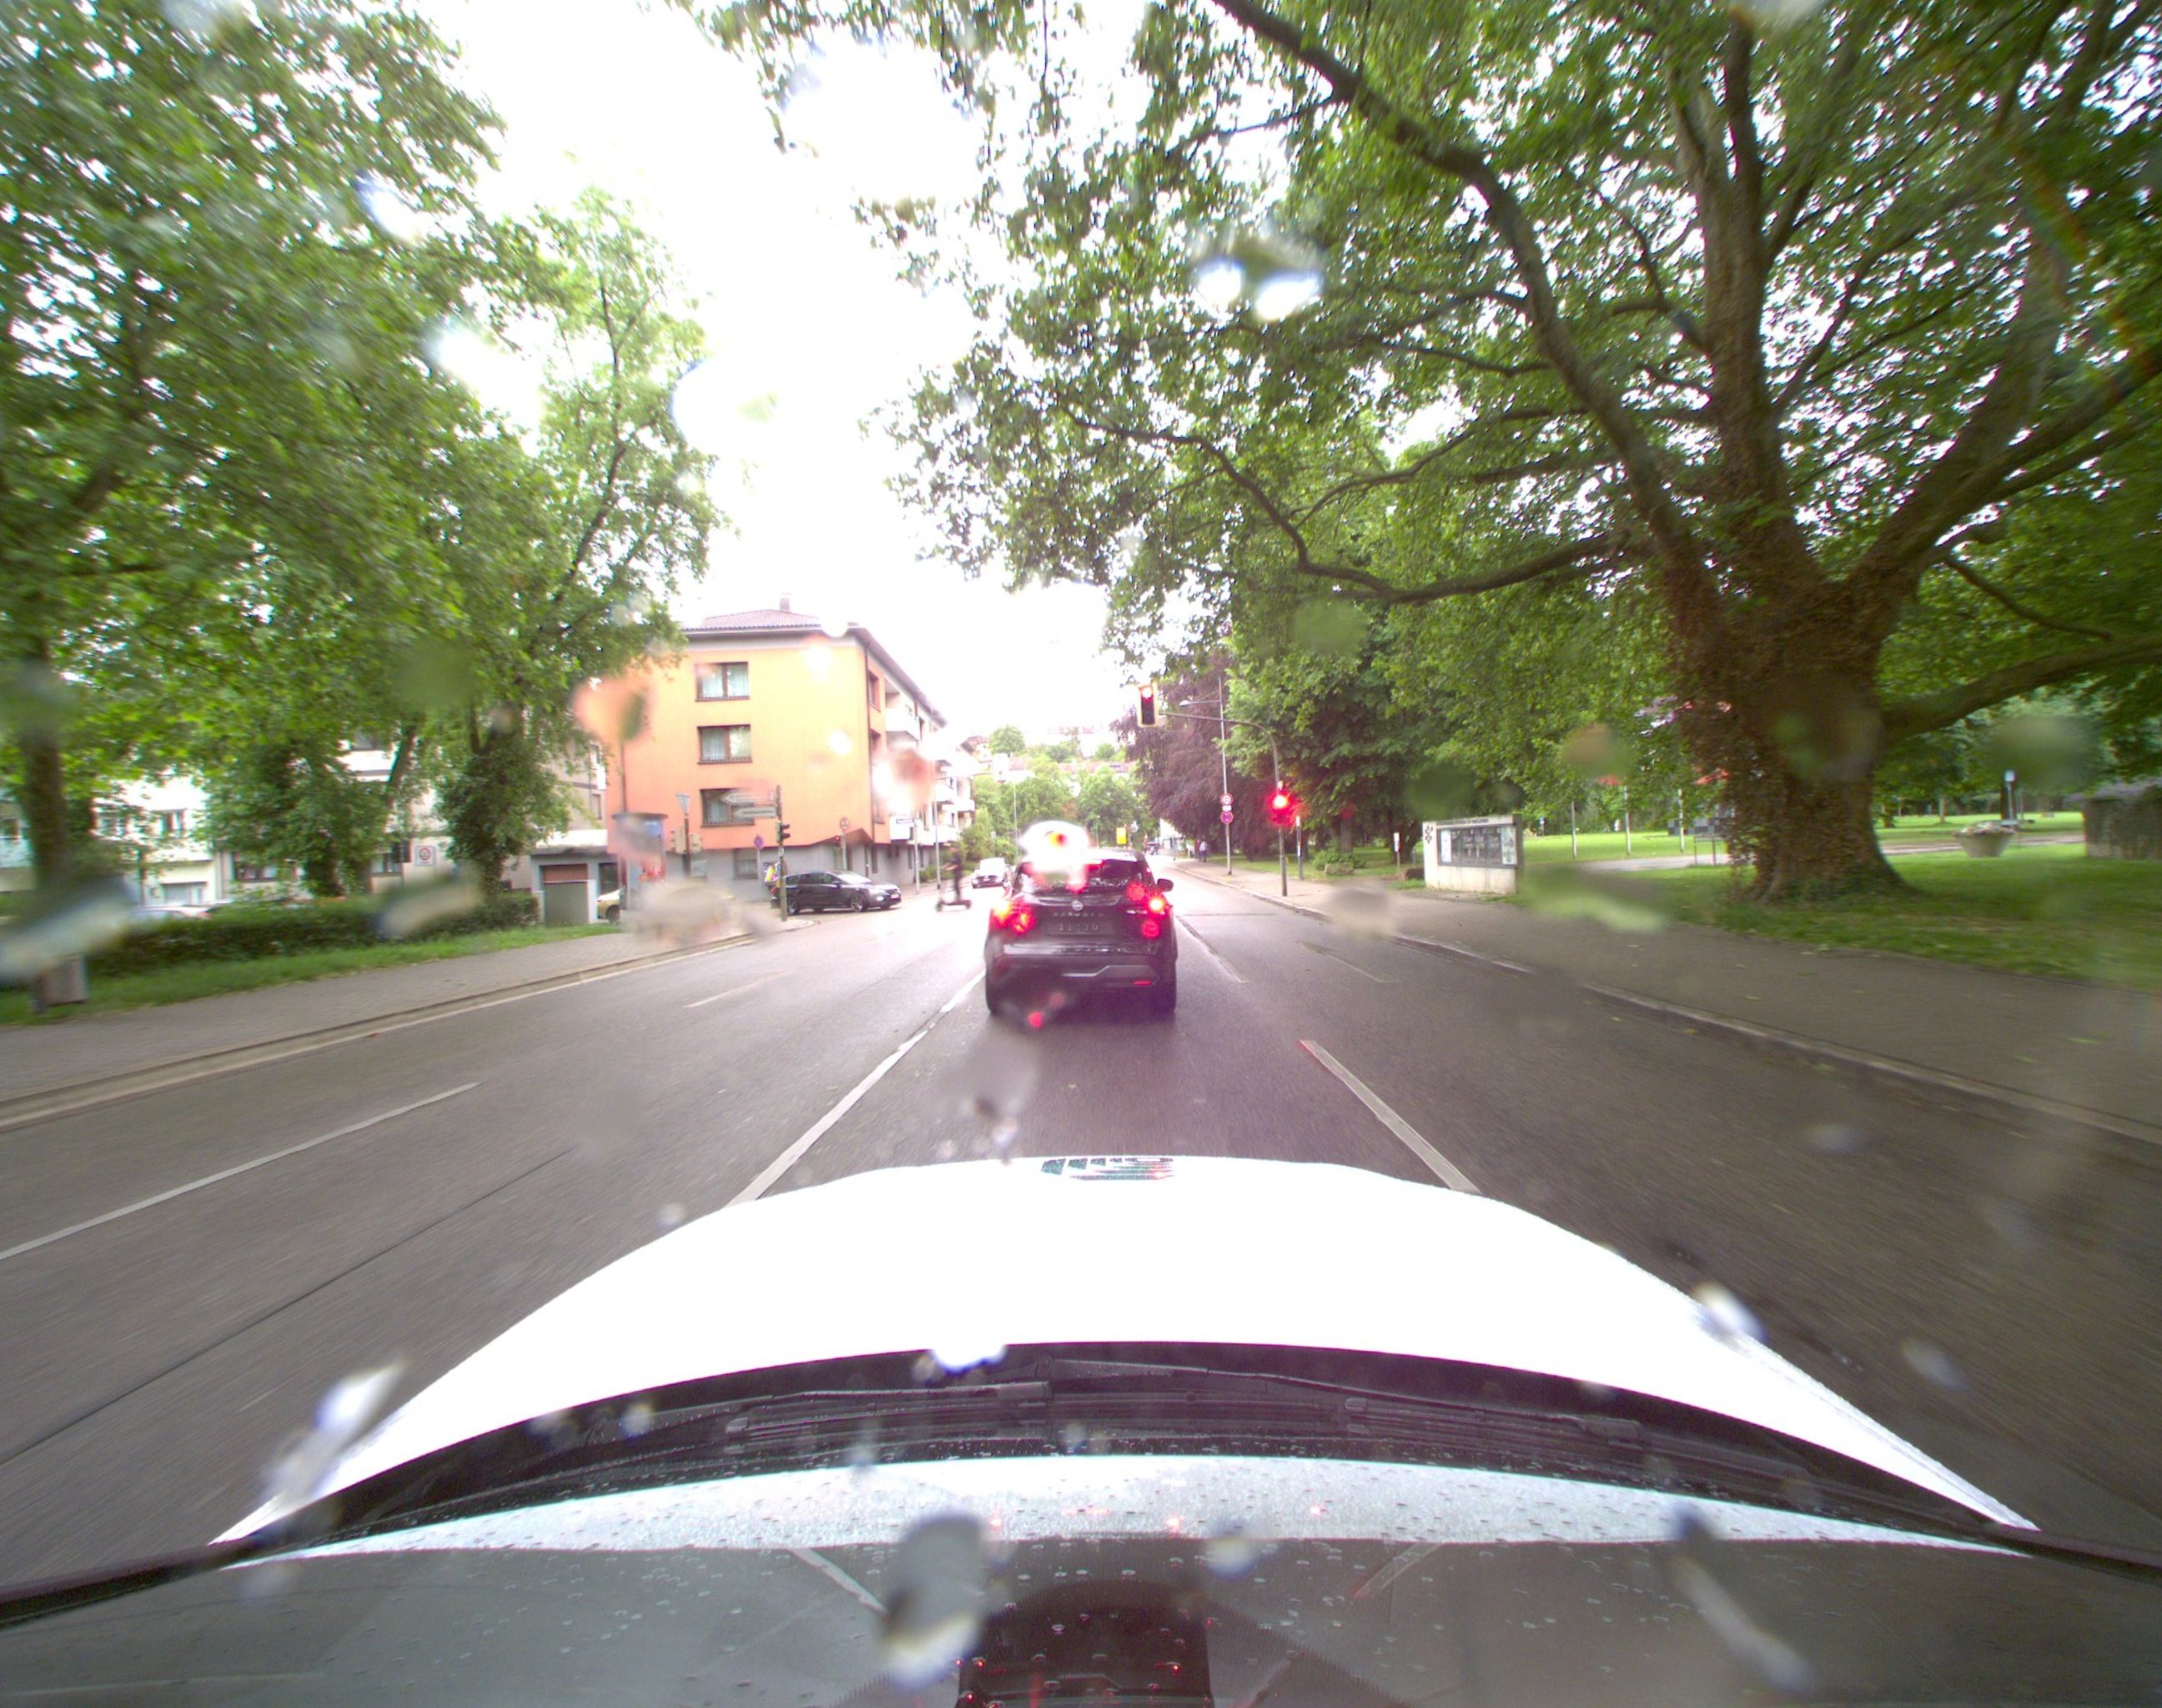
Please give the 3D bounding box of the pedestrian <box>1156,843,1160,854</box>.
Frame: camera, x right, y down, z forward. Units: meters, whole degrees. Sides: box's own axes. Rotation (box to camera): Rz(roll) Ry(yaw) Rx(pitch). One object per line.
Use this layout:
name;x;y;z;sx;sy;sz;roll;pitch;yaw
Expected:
pedestrian;12.252;-0.877;129.838;0.507;1.802;0.619;-3;0;0

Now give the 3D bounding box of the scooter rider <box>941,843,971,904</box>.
scooter rider;-3.719;0.587;24.272;0.640;1.766;0.736;-2;-1;6

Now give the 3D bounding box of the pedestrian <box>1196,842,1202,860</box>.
pedestrian;9.700;-0.258;66.935;0.388;1.502;0.559;-3;0;2

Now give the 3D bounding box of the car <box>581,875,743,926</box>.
car;-14.511;1.588;28.358;4.616;1.403;1.833;-4;0;3

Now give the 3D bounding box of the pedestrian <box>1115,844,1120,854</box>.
pedestrian;6.201;-0.879;137.246;0.503;1.673;0.663;-3;0;29

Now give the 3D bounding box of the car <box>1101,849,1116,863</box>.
car;3.396;0.209;100.677;1.628;1.532;3.969;-3;0;2

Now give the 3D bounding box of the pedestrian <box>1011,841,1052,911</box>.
pedestrian;-1.373;0.593;22.534;1.035;1.876;0.656;-2;0;-9

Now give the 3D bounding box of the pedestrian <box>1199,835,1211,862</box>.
pedestrian;9.502;-0.397;62.396;0.722;2.013;0.852;-3;0;2

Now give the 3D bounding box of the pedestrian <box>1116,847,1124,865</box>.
pedestrian;4.213;0.209;87.240;0.611;1.802;0.513;-3;0;29

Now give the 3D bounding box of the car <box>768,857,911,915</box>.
car;-8.067;1.056;27.331;4.095;1.625;1.858;-3;0;13

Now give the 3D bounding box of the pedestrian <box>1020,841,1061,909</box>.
pedestrian;-1.169;0.596;23.281;1.035;1.876;0.656;-2;0;-9

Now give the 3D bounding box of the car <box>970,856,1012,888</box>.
car;-4.745;0.906;43.322;1.791;1.533;3.865;-3;0;-2

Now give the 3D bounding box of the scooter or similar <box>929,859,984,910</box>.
scooter or similar;-3.715;0.913;24.320;1.386;1.446;0.819;-3;-1;8

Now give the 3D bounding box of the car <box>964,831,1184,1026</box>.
car;0.005;0.649;9.155;1.906;1.680;4.002;-1;0;2

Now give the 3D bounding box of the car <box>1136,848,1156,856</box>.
car;14.227;-0.533;178.840;3.962;1.532;1.631;-3;0;-15

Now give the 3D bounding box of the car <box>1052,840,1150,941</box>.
car;0.424;0.657;16.612;1.692;1.745;3.642;-3;0;2

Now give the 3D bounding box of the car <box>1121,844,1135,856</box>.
car;7.169;-0.614;124.150;1.983;1.735;4.007;0;0;7
